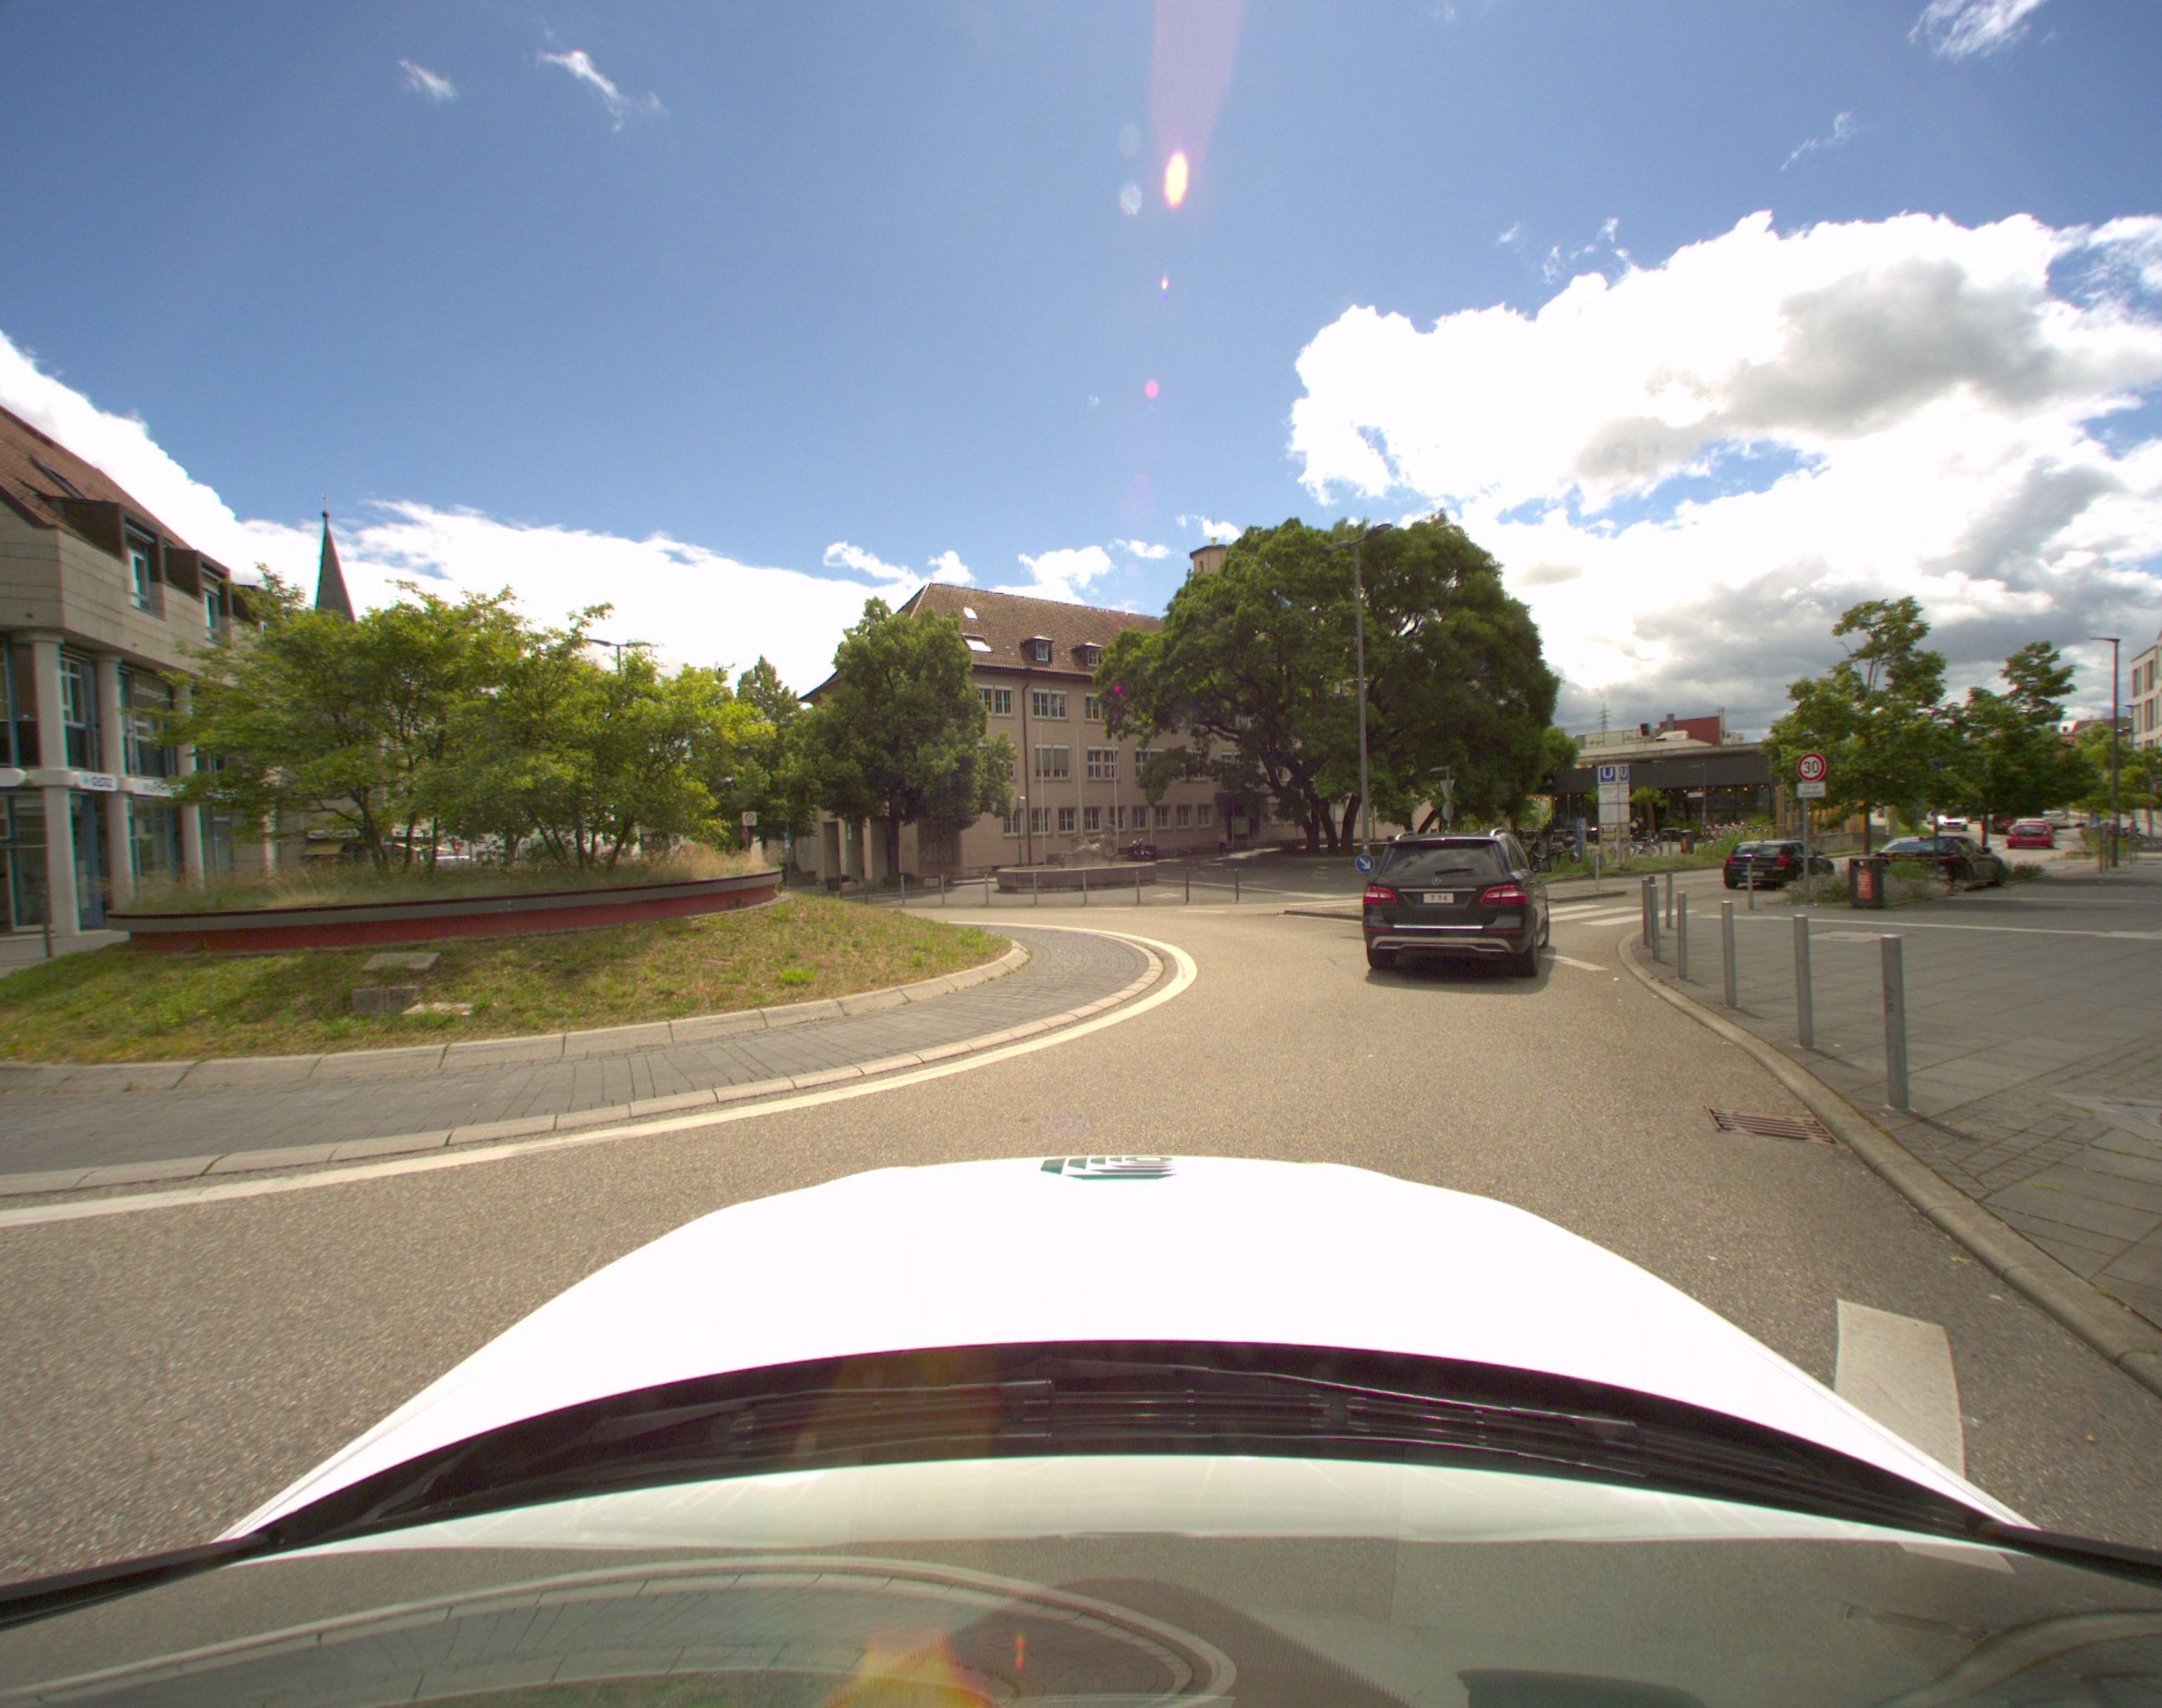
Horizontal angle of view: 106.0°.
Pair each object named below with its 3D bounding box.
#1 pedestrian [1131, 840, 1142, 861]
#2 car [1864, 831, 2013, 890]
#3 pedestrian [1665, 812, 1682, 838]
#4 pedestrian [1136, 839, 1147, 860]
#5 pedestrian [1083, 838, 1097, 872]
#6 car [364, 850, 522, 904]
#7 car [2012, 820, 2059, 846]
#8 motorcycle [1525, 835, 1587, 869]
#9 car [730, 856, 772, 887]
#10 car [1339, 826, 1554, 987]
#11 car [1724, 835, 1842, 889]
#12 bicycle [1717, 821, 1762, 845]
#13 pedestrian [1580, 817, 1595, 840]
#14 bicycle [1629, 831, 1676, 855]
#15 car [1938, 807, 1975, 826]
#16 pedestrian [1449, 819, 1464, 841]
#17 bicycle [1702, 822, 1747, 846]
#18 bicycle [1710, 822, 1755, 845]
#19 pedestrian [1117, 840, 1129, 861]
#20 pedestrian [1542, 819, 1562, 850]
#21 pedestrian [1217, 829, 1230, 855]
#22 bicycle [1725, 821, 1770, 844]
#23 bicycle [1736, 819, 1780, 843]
[{"bbox_3d":[3.149,-0.175,46.179,0.483,1.182,0.583,-1,0,15],"label":"pedestrian"},{"bbox_3d":[23.229,0.148,22.043,4.388,1.406,1.844,-2,0,-31],"label":"car"},{"bbox_3d":[34.358,-1.671,47.229,0.617,1.463,0.578,-2,0,-24],"label":"pedestrian"},{"bbox_3d":[3.480,-0.272,46.810,0.483,1.222,0.583,-1,0,15],"label":"pedestrian"},{"bbox_3d":[0.450,0.048,39.129,0.574,1.608,0.435,-1,4,-17],"label":"pedestrian"},{"bbox_3d":[-33.109,1.134,42.411,6.339,2.560,2.180,-1,-3,-41],"label":"car"},{"bbox_3d":[54.102,-1.192,46.158,3.855,1.383,1.595,-2,1,-39],"label":"car"},{"bbox_3d":[18.726,-0.105,32.150,0.585,1.289,2.119,-5,3,-29],"label":"motorcycle"},{"bbox_3d":[-17.940,0.918,44.126,1.986,1.530,3.969,-2,0,-24],"label":"car"},{"bbox_3d":[5.165,0.540,11.116,2.007,1.727,4.462,-2,0,32],"label":"car"},{"bbox_3d":[20.587,0.189,23.850,3.851,1.383,1.597,-2,1,-33],"label":"car"},{"bbox_3d":[31.543,-1.010,39.024,0.580,1.091,1.557,-2,1,-31],"label":"bicycle"},{"bbox_3d":[29.829,-1.502,47.986,0.619,1.379,0.576,-2,0,-44],"label":"pedestrian"},{"bbox_3d":[24.342,-0.464,34.728,0.501,0.997,1.603,-2,1,-25],"label":"bicycle"},{"bbox_3d":[77.457,-3.320,72.083,1.823,1.607,4.025,2,4,41],"label":"car"},{"bbox_3d":[28.499,-1.828,61.746,0.639,1.627,0.780,-2,0,-33],"label":"pedestrian"},{"bbox_3d":[30.234,-0.933,38.283,0.580,1.091,1.557,-2,1,-31],"label":"bicycle"},{"bbox_3d":[30.918,-0.958,38.643,0.541,1.069,1.557,-2,1,-31],"label":"bicycle"},{"bbox_3d":[2.415,-0.196,46.592,0.482,1.162,0.584,-1,0,24],"label":"pedestrian"},{"bbox_3d":[24.594,-1.005,42.537,0.614,1.577,0.581,-2,0,-8],"label":"pedestrian"},{"bbox_3d":[8.462,-0.706,48.531,0.694,1.492,0.816,-1,0,6],"label":"pedestrian"},{"bbox_3d":[32.383,-1.048,39.583,0.580,1.091,1.557,-2,1,-31],"label":"bicycle"},{"bbox_3d":[33.231,-1.127,39.983,0.580,1.091,1.557,-2,1,-31],"label":"bicycle"}]
